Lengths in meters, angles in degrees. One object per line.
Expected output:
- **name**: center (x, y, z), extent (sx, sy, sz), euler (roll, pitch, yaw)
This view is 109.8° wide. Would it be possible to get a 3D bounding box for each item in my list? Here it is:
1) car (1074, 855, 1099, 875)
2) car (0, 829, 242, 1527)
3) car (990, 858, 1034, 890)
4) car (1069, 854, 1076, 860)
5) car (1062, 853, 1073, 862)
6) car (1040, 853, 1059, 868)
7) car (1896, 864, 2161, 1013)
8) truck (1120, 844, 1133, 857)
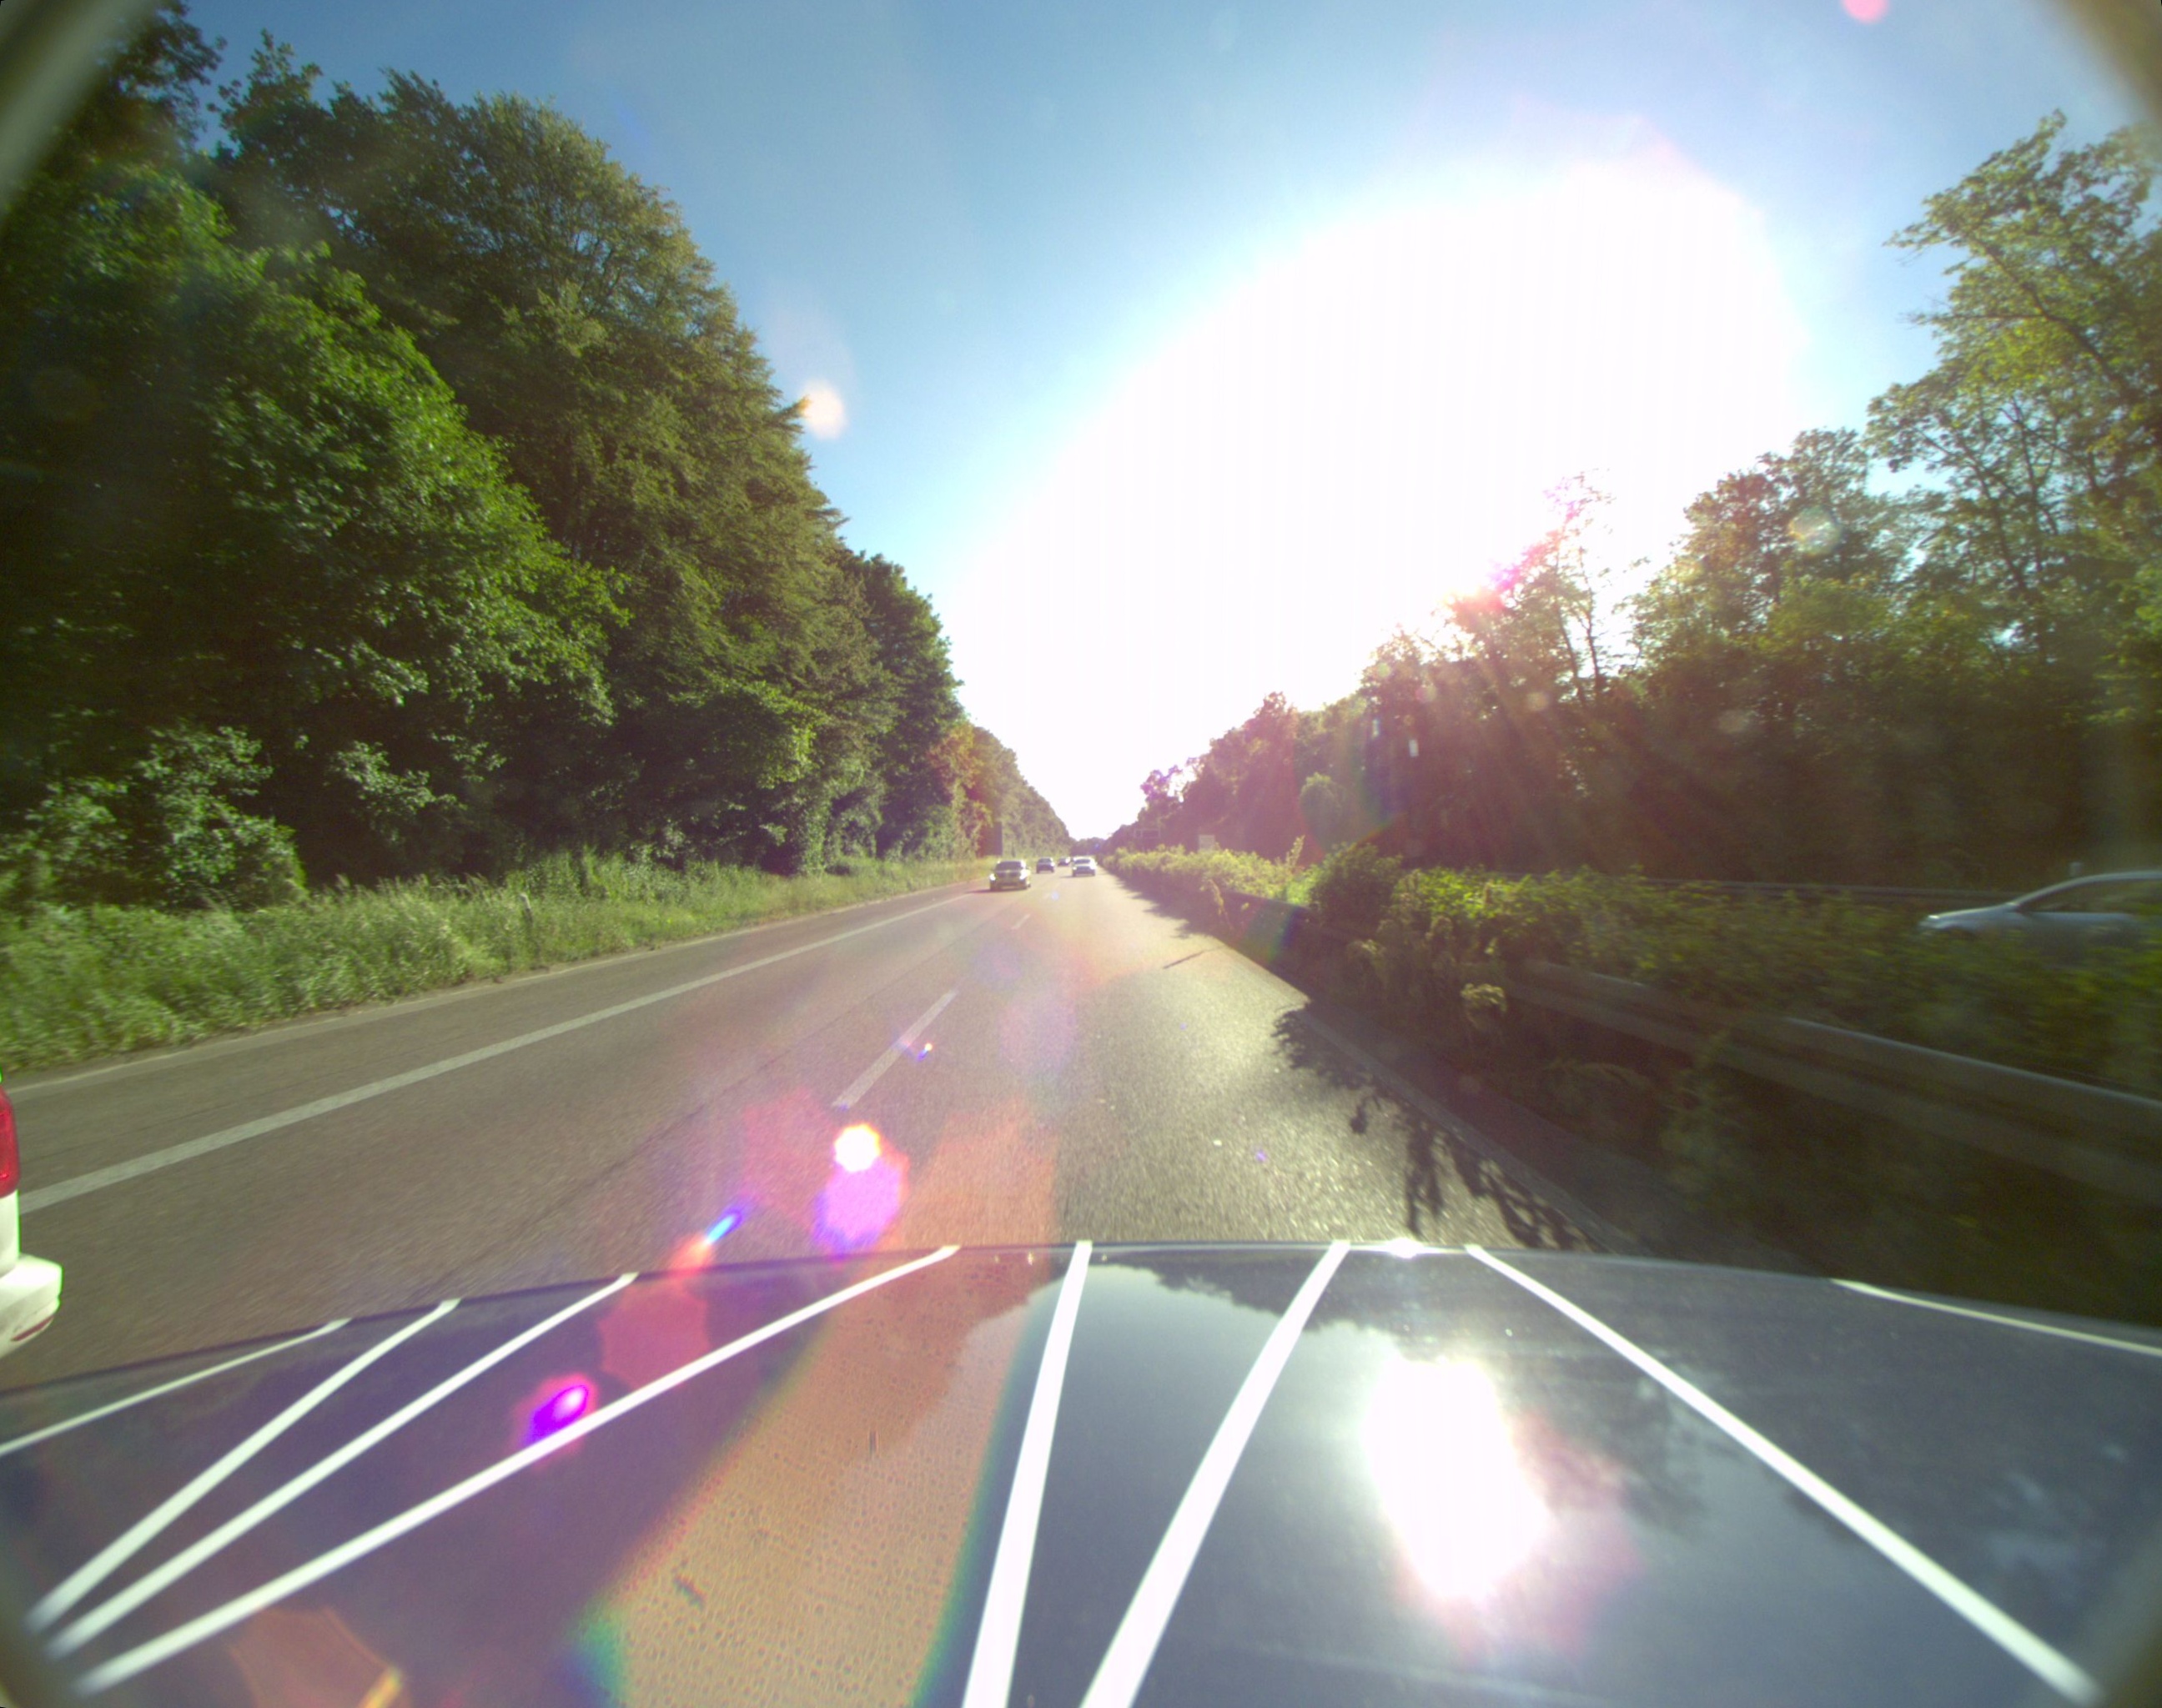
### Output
- **car**: center (0.460, 0.844, 60.630), extent (1.890, 1.440, 3.878), euler (-2, 0, 1)
- **car**: center (-3.725, 0.888, 0.209), extent (1.803, 1.802, 4.587), euler (-2, 1, 0)
- **car**: center (-3.422, 0.976, 38.289), extent (1.795, 1.440, 3.877), euler (-2, 0, 0)
- **car**: center (-2.259, 0.886, 205.522), extent (1.795, 1.440, 3.877), euler (-2, 0, 0)
- **car**: center (-2.321, 0.536, 128.344), extent (1.795, 1.440, 3.877), euler (-2, 0, 0)
- **car**: center (-3.197, 0.663, 77.463), extent (1.795, 1.440, 3.877), euler (-2, 0, 0)
- **car**: center (11.779, 0.857, 7.864), extent (1.999, 1.441, 4.338), euler (-1, 0, -1)
- **truck**: center (14.735, -1.151, 248.778), extent (3.251, 3.989, 14.450), euler (-2, 0, 0)
